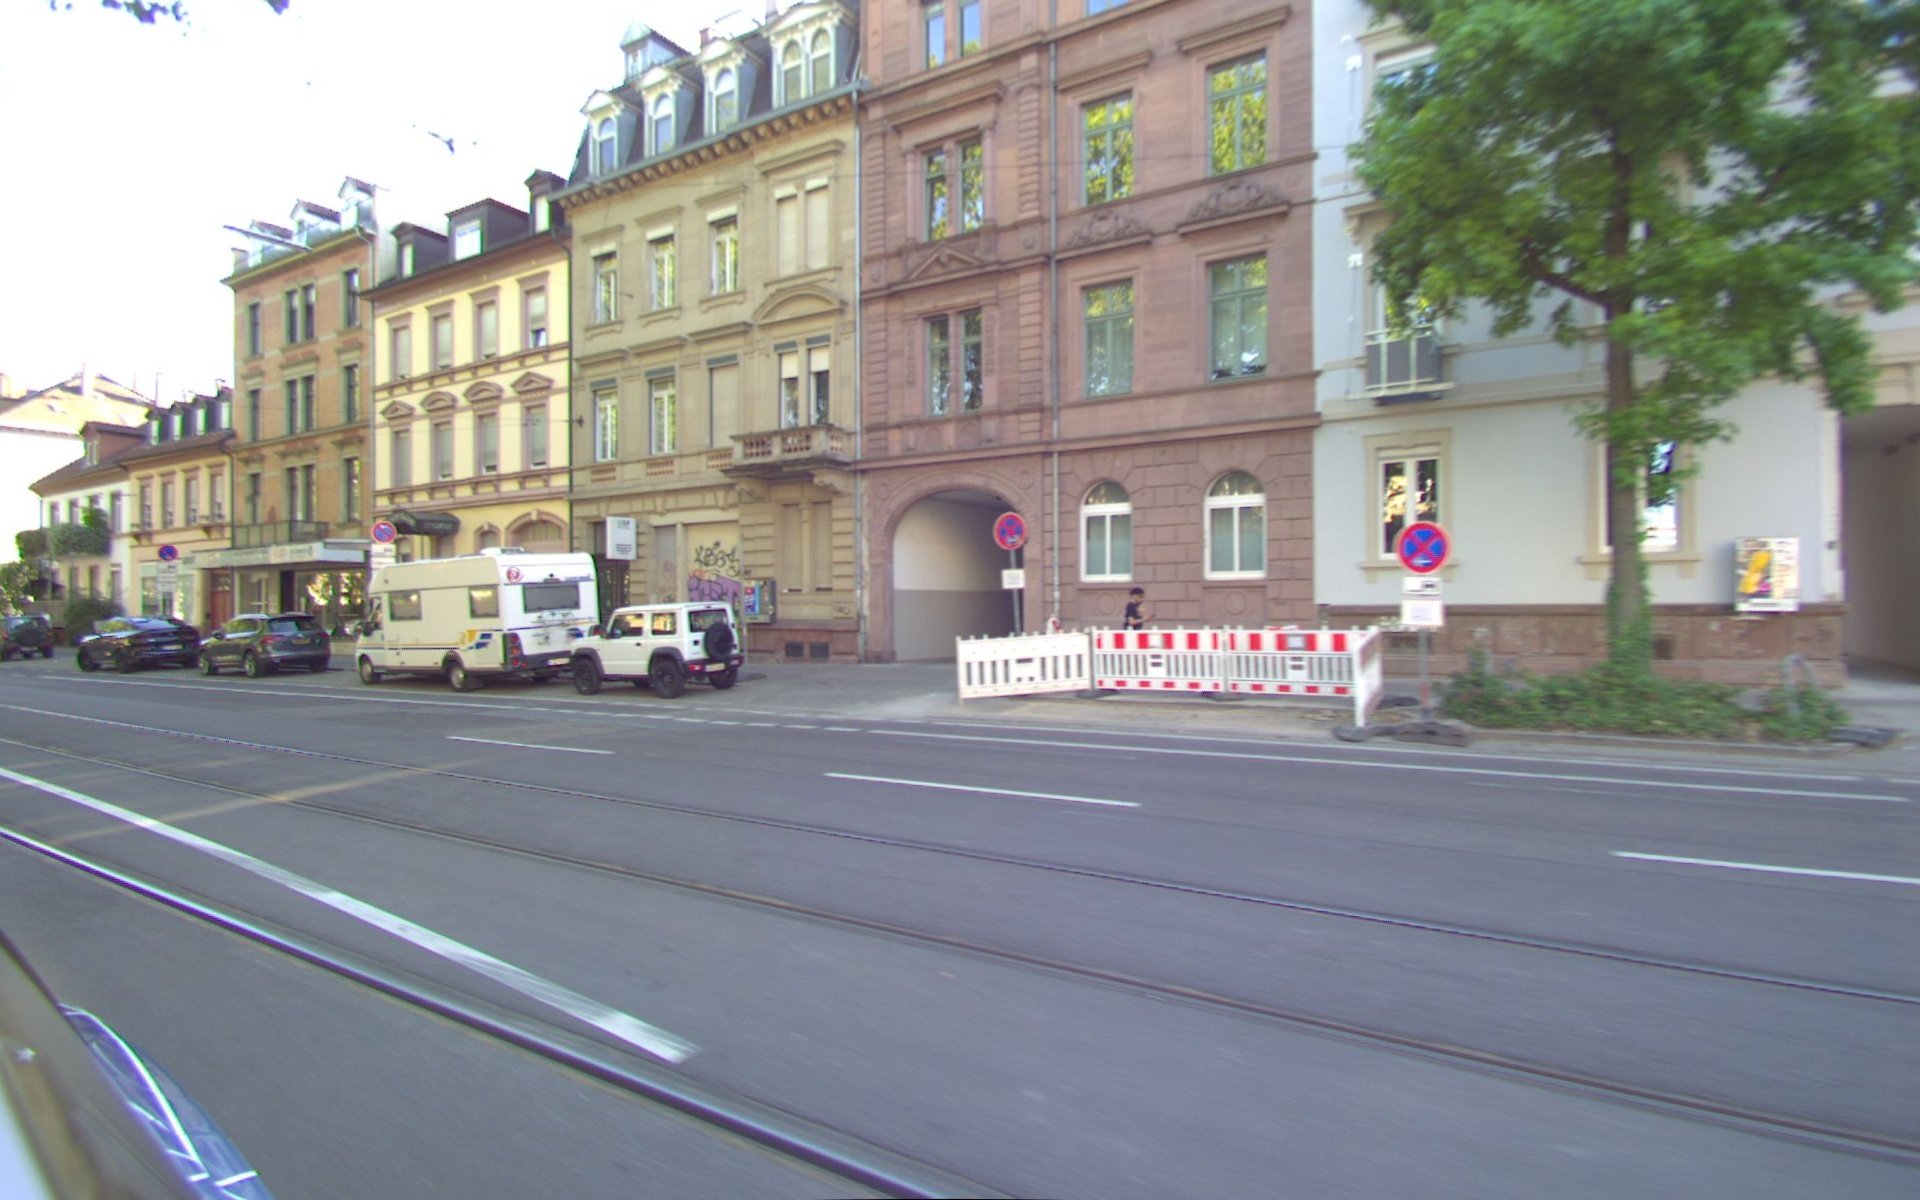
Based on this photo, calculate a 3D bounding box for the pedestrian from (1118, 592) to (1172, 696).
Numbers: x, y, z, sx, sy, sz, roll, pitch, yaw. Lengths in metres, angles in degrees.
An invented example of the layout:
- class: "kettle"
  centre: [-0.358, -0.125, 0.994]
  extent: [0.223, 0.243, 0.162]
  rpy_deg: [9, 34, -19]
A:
- class: "pedestrian"
  centre: [3.068, 0.720, 16.755]
  extent: [0.686, 1.666, 0.563]
  rpy_deg: [-1, 1, 33]

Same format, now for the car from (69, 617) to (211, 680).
- class: "car"
  centre: [-25.769, 1.480, 31.753]
  extent: [4.734, 1.715, 1.979]
  rpy_deg: [-1, 2, 32]

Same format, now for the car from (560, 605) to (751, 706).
- class: "car"
  centre: [-5.864, 1.020, 19.433]
  extent: [3.358, 1.718, 1.619]
  rpy_deg: [-1, 2, 30]

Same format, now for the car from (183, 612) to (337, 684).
- class: "car"
  centre: [-19.247, 1.281, 27.786]
  extent: [4.428, 1.718, 1.797]
  rpy_deg: [-1, 2, 32]

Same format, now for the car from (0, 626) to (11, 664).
- class: "car"
  centre: [-39.830, 1.829, 40.494]
  extent: [4.390, 1.465, 1.651]
  rpy_deg: [-1, 1, 32]

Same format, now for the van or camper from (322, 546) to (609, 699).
- class: "van or camper"
  centre: [-11.202, 0.450, 22.652]
  extent: [7.232, 2.969, 2.400]
  rpy_deg: [-1, 2, 34]

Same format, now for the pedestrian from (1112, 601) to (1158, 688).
- class: "pedestrian"
  centre: [3.070, 0.771, 17.721]
  extent: [0.605, 1.472, 0.571]
  rpy_deg: [-1, 1, 32]

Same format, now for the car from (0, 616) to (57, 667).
- class: "car"
  centre: [-35.997, 1.558, 38.357]
  extent: [3.615, 1.759, 1.711]
  rpy_deg: [-1, 2, 34]
